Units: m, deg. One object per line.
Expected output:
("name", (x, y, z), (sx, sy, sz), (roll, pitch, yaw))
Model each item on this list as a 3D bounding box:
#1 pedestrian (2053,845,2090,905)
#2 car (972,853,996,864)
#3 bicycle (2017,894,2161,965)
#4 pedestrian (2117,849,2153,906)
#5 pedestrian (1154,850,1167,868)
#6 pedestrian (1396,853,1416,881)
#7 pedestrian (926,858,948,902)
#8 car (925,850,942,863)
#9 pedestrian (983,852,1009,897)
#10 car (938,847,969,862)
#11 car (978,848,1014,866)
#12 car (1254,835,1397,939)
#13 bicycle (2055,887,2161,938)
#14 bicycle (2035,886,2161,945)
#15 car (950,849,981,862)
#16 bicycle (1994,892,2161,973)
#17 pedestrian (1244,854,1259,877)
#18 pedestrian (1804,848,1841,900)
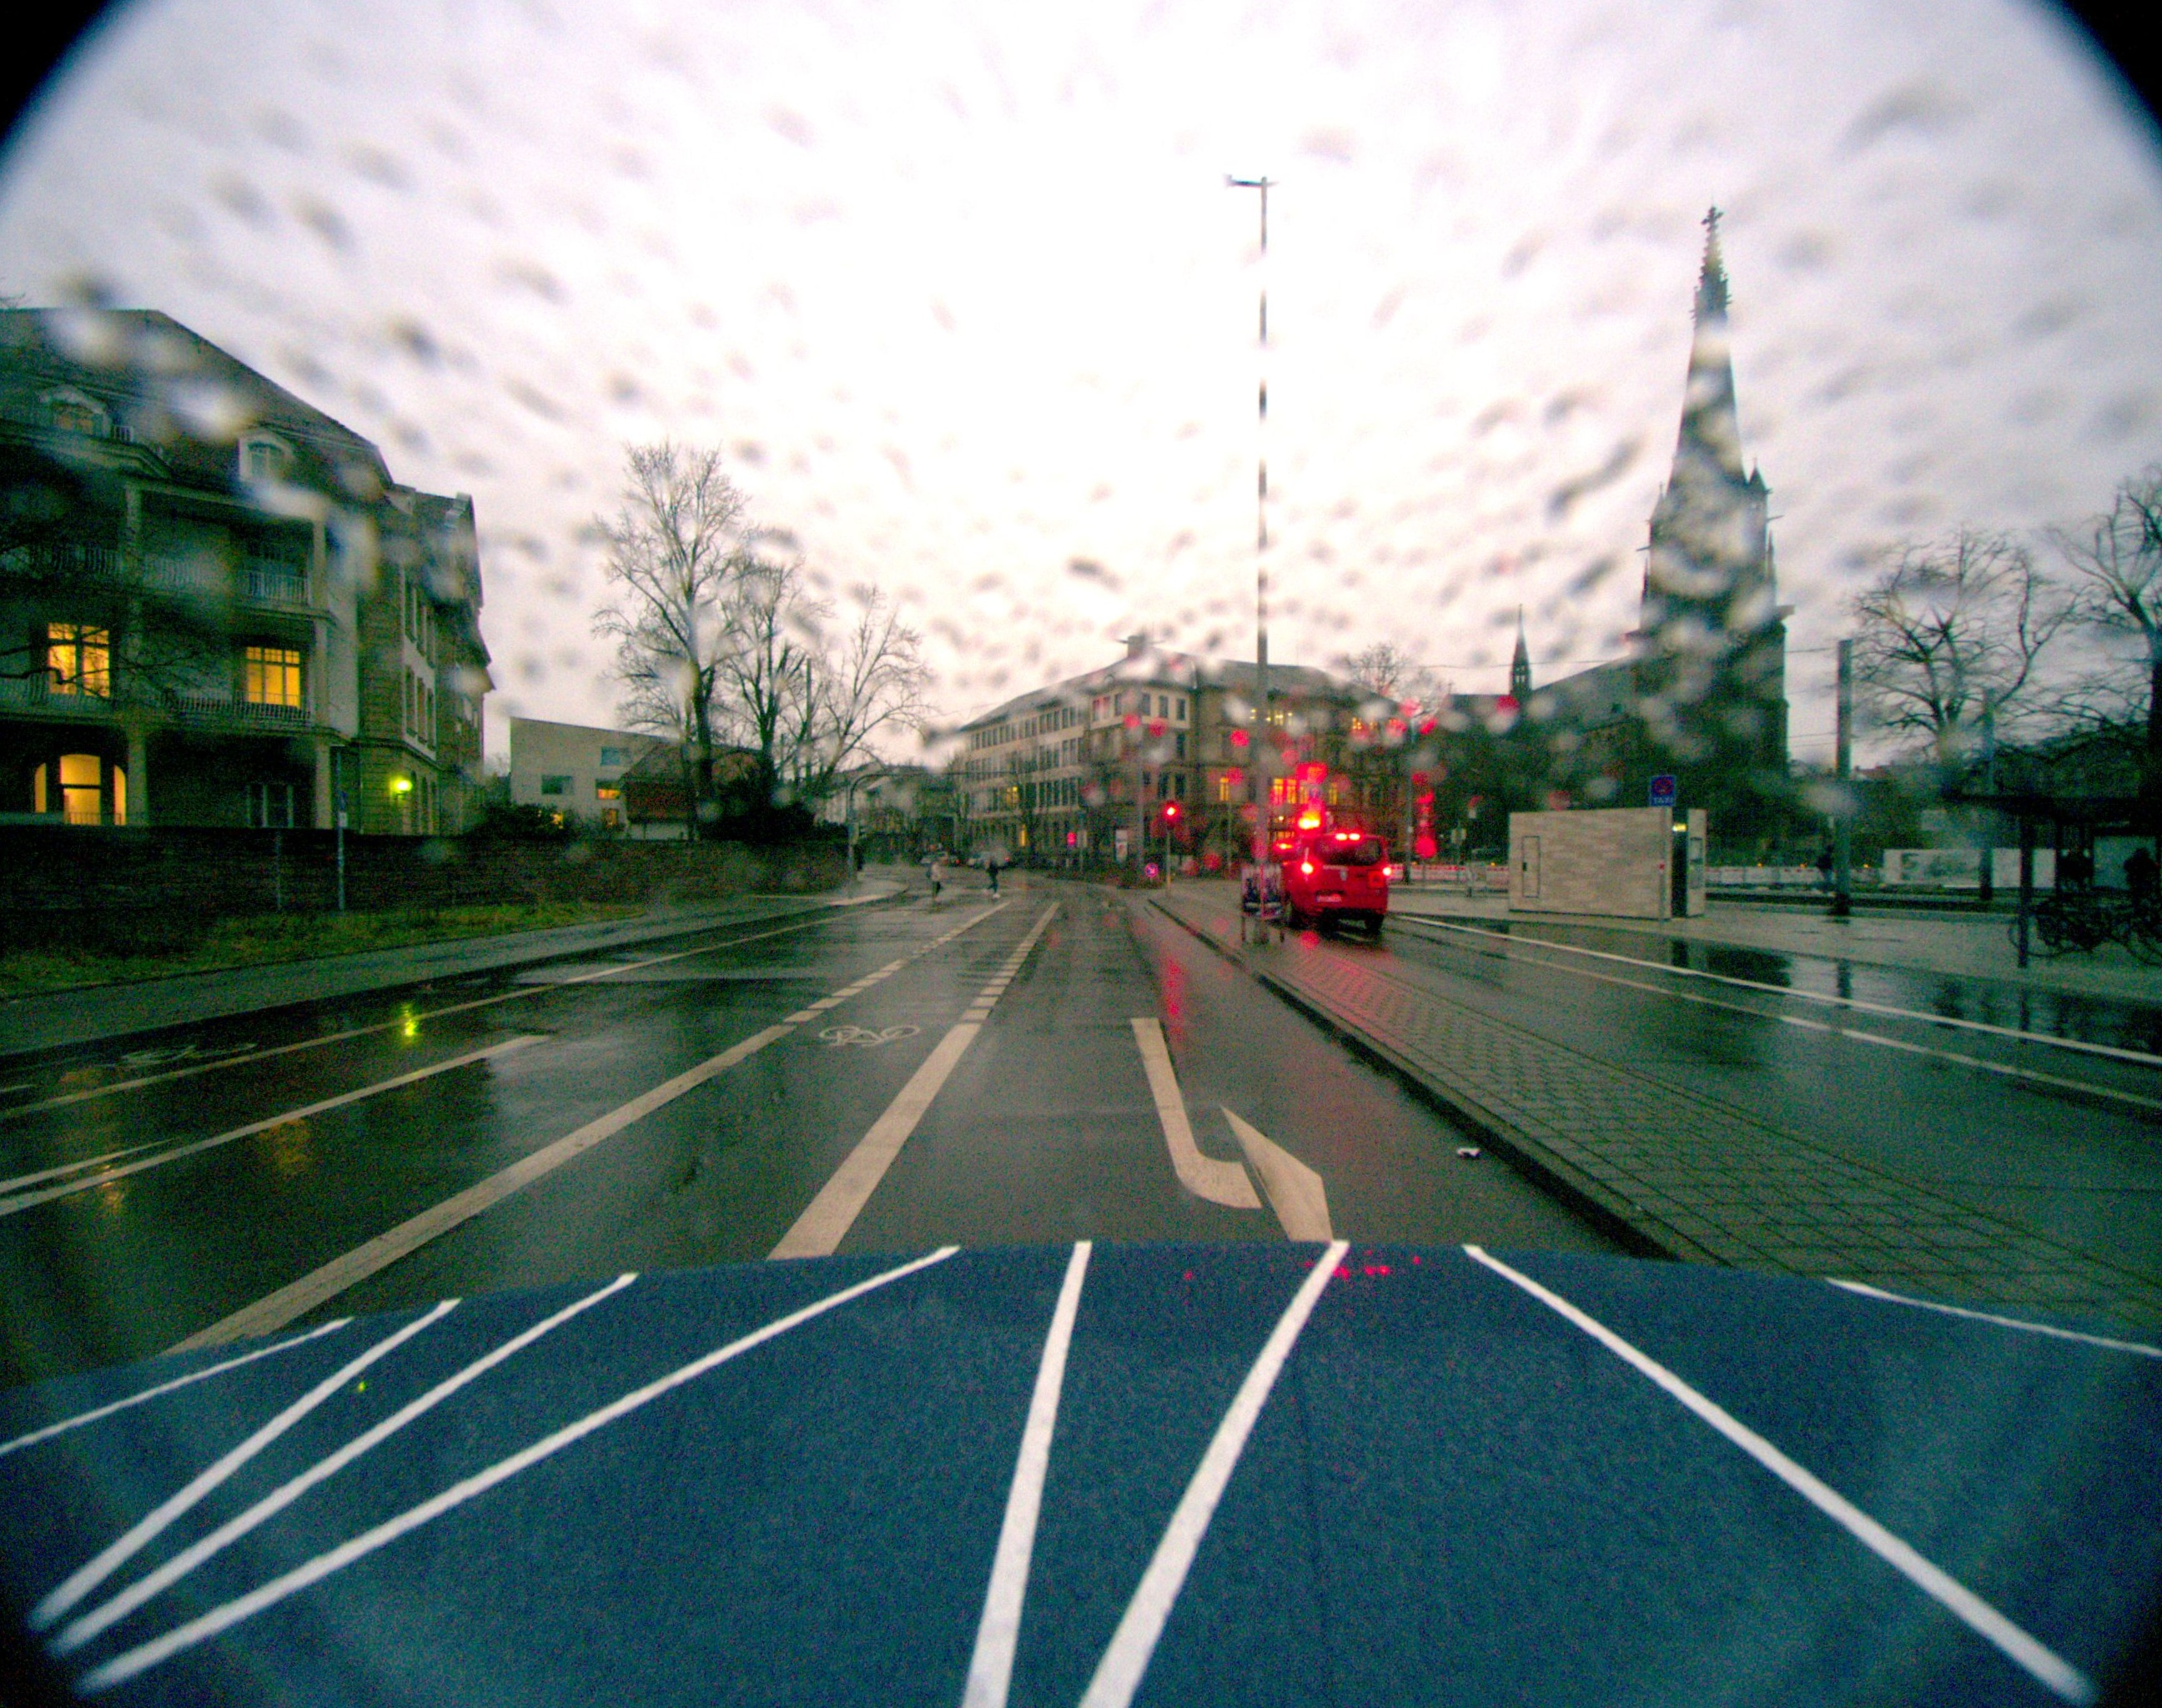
("pedestrian", (30.234, 0.640, 23.206), (0.673, 1.785, 0.626), (-3, 2, -41))
("car", (-12.132, 0.577, 95.300), (1.706, 1.298, 3.647), (-2, 1, 16))
("bicycle", (16.615, 1.211, 12.207), (0.475, 0.980, 1.921), (-2, 2, -30))
("pedestrian", (31.047, 0.689, 22.377), (0.541, 1.642, 0.562), (-3, 2, -41))
("pedestrian", (7.712, 0.510, 73.436), (0.829, 1.714, 0.926), (0, 0, -37))
("pedestrian", (20.002, 0.814, 46.784), (0.772, 1.651, 1.209), (-2, 1, 9))
("pedestrian", (-5.694, 1.028, 30.132), (0.798, 1.713, 0.674), (1, 1, -6))
("car", (-20.733, 0.375, 106.839), (2.000, 1.660, 3.997), (-2, 1, -7))
("pedestrian", (-3.581, 0.861, 31.977), (1.000, 1.890, 0.673), (1, 1, -10))
("car", (-16.993, 0.079, 101.464), (2.043, 1.889, 4.007), (-2, 1, 28))
("car", (-9.556, 0.333, 85.114), (1.887, 1.835, 3.989), (-3, 1, -43))
("car", (5.424, 0.658, 17.538), (1.928, 2.058, 4.644), (1, 0, 2))
("bicycle", (20.846, 1.159, 15.008), (0.475, 0.905, 1.921), (-2, 2, -30))
("bicycle", (19.690, 1.166, 14.419), (0.475, 0.980, 1.921), (-2, 2, -30))
("car", (-15.089, 0.203, 99.399), (1.797, 1.541, 4.007), (-2, 1, 28))
("bicycle", (15.497, 1.178, 11.603), (0.475, 1.064, 1.921), (-2, 2, -30))
("pedestrian", (13.642, 0.909, 60.778), (0.675, 1.806, 0.895), (0, 2, -42))
("pedestrian", (26.594, 0.706, 27.246), (0.671, 1.785, 0.825), (-3, 1, -34))
